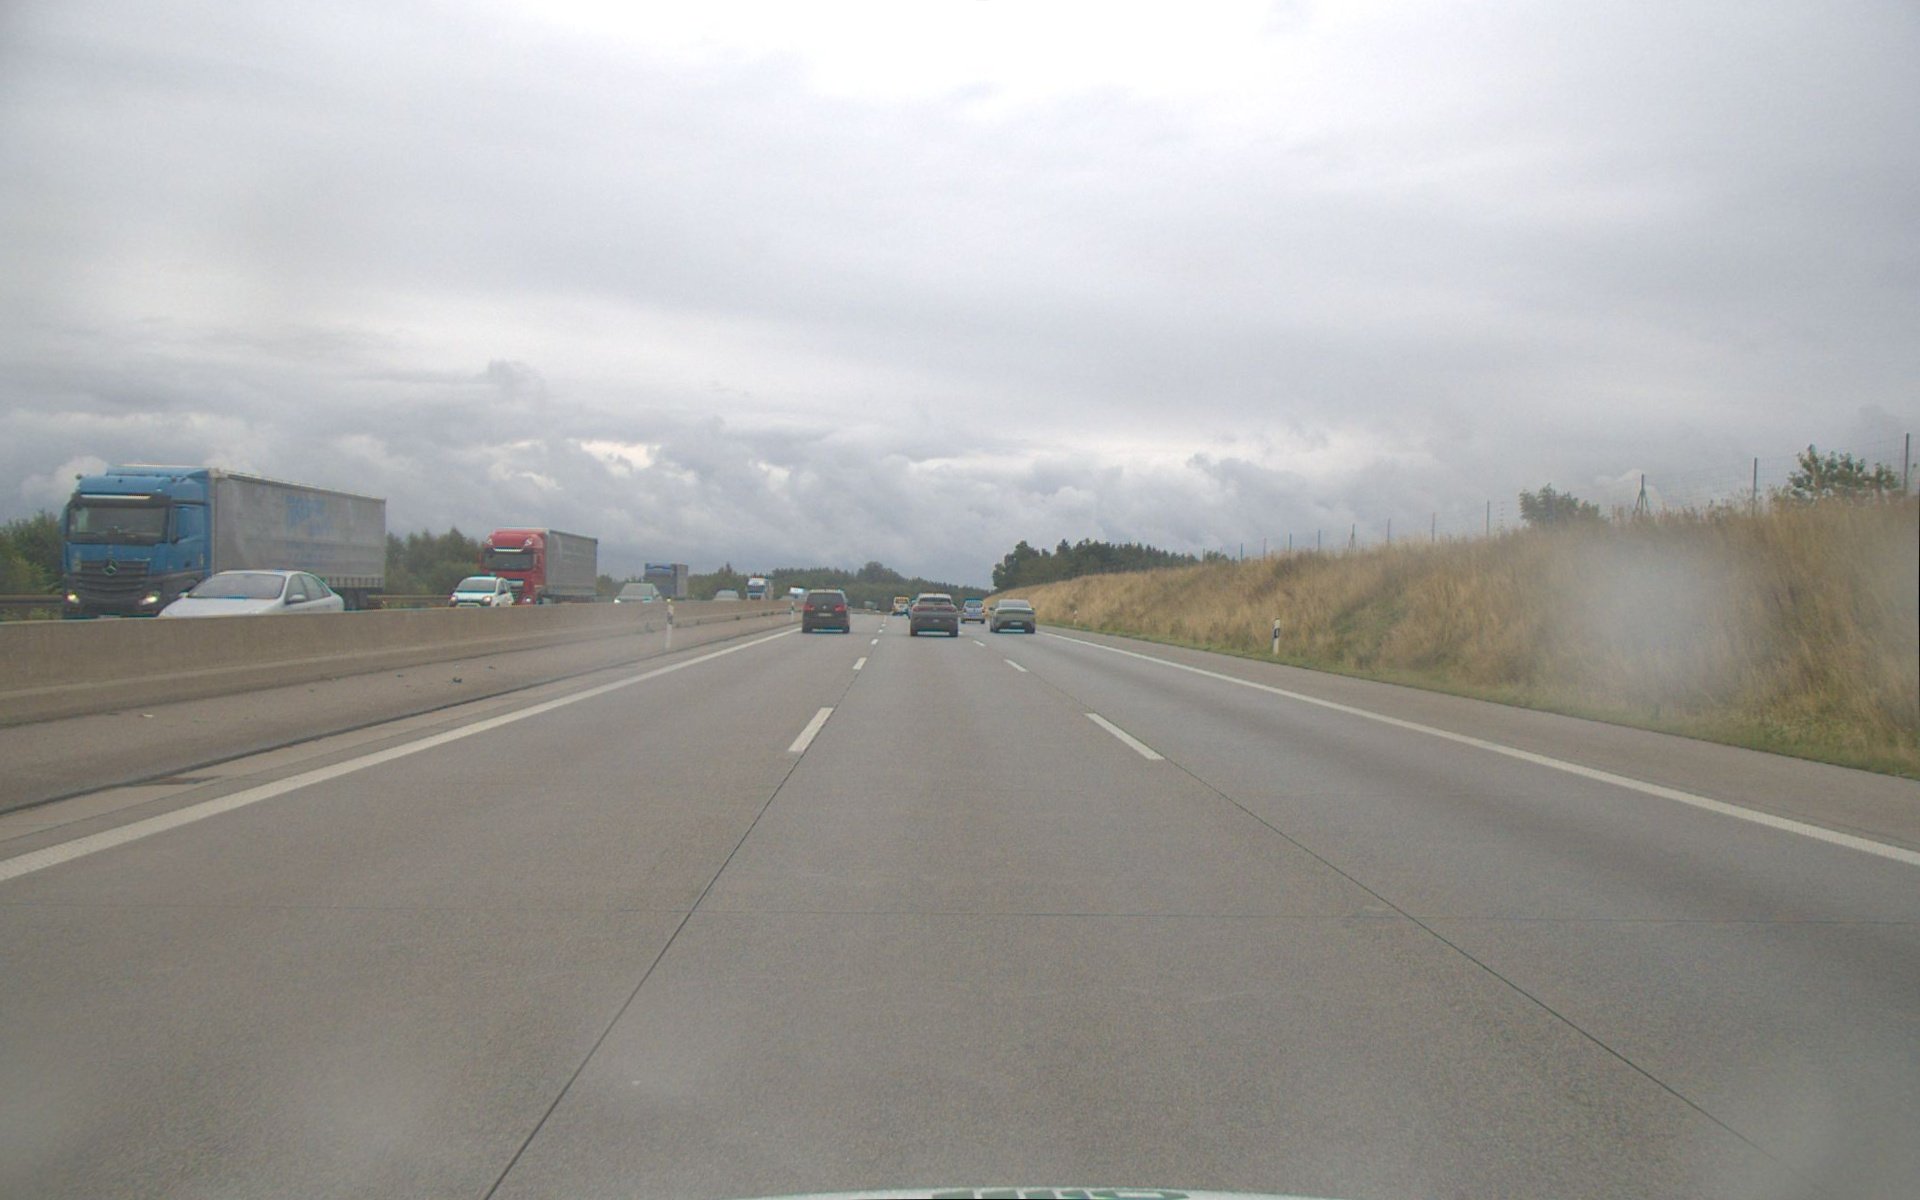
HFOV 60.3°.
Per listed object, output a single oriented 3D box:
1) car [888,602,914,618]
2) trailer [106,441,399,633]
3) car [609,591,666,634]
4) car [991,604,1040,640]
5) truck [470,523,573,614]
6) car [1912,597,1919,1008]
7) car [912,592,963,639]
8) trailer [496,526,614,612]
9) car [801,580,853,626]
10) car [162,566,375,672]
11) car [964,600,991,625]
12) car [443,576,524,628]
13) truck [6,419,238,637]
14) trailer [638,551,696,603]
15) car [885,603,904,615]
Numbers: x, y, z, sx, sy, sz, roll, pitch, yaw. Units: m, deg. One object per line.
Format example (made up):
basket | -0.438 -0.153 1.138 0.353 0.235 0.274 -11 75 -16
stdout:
car | -4.559 0.756 127.714 1.760 1.143 4.001 1 0 1
trailer | -19.907 -1.611 47.945 2.857 4.706 13.633 1 0 -1
car | -13.610 0.501 69.903 1.679 1.708 4.180 1 0 -2
car | 2.430 0.955 73.933 1.973 1.471 4.744 1 0 0
truck | -21.518 -1.519 81.544 3.400 4.255 6.491 1 0 -1
car | 4.167 0.595 3.361 1.749 1.633 4.570 1 0 -1
car | -0.886 0.578 64.412 1.859 1.719 5.265 1 0 -1
trailer | -21.699 -1.615 89.544 3.413 4.275 12.925 1 0 -1
car | -5.263 0.103 65.895 1.749 1.777 3.915 1 0 0
car | -11.664 0.281 28.264 1.664 1.643 4.719 1 0 -1
car | 1.098 0.786 105.967 1.456 1.496 3.503 4 0 -3
car | -16.336 0.058 56.892 1.582 1.680 4.294 1 0 -1
truck | -19.687 -1.608 39.214 2.869 4.758 5.231 1 0 -2
trailer | -23.407 -1.803 132.844 2.792 3.904 12.394 1 0 -2
car | -7.027 0.967 178.216 1.760 1.243 4.001 1 0 1
